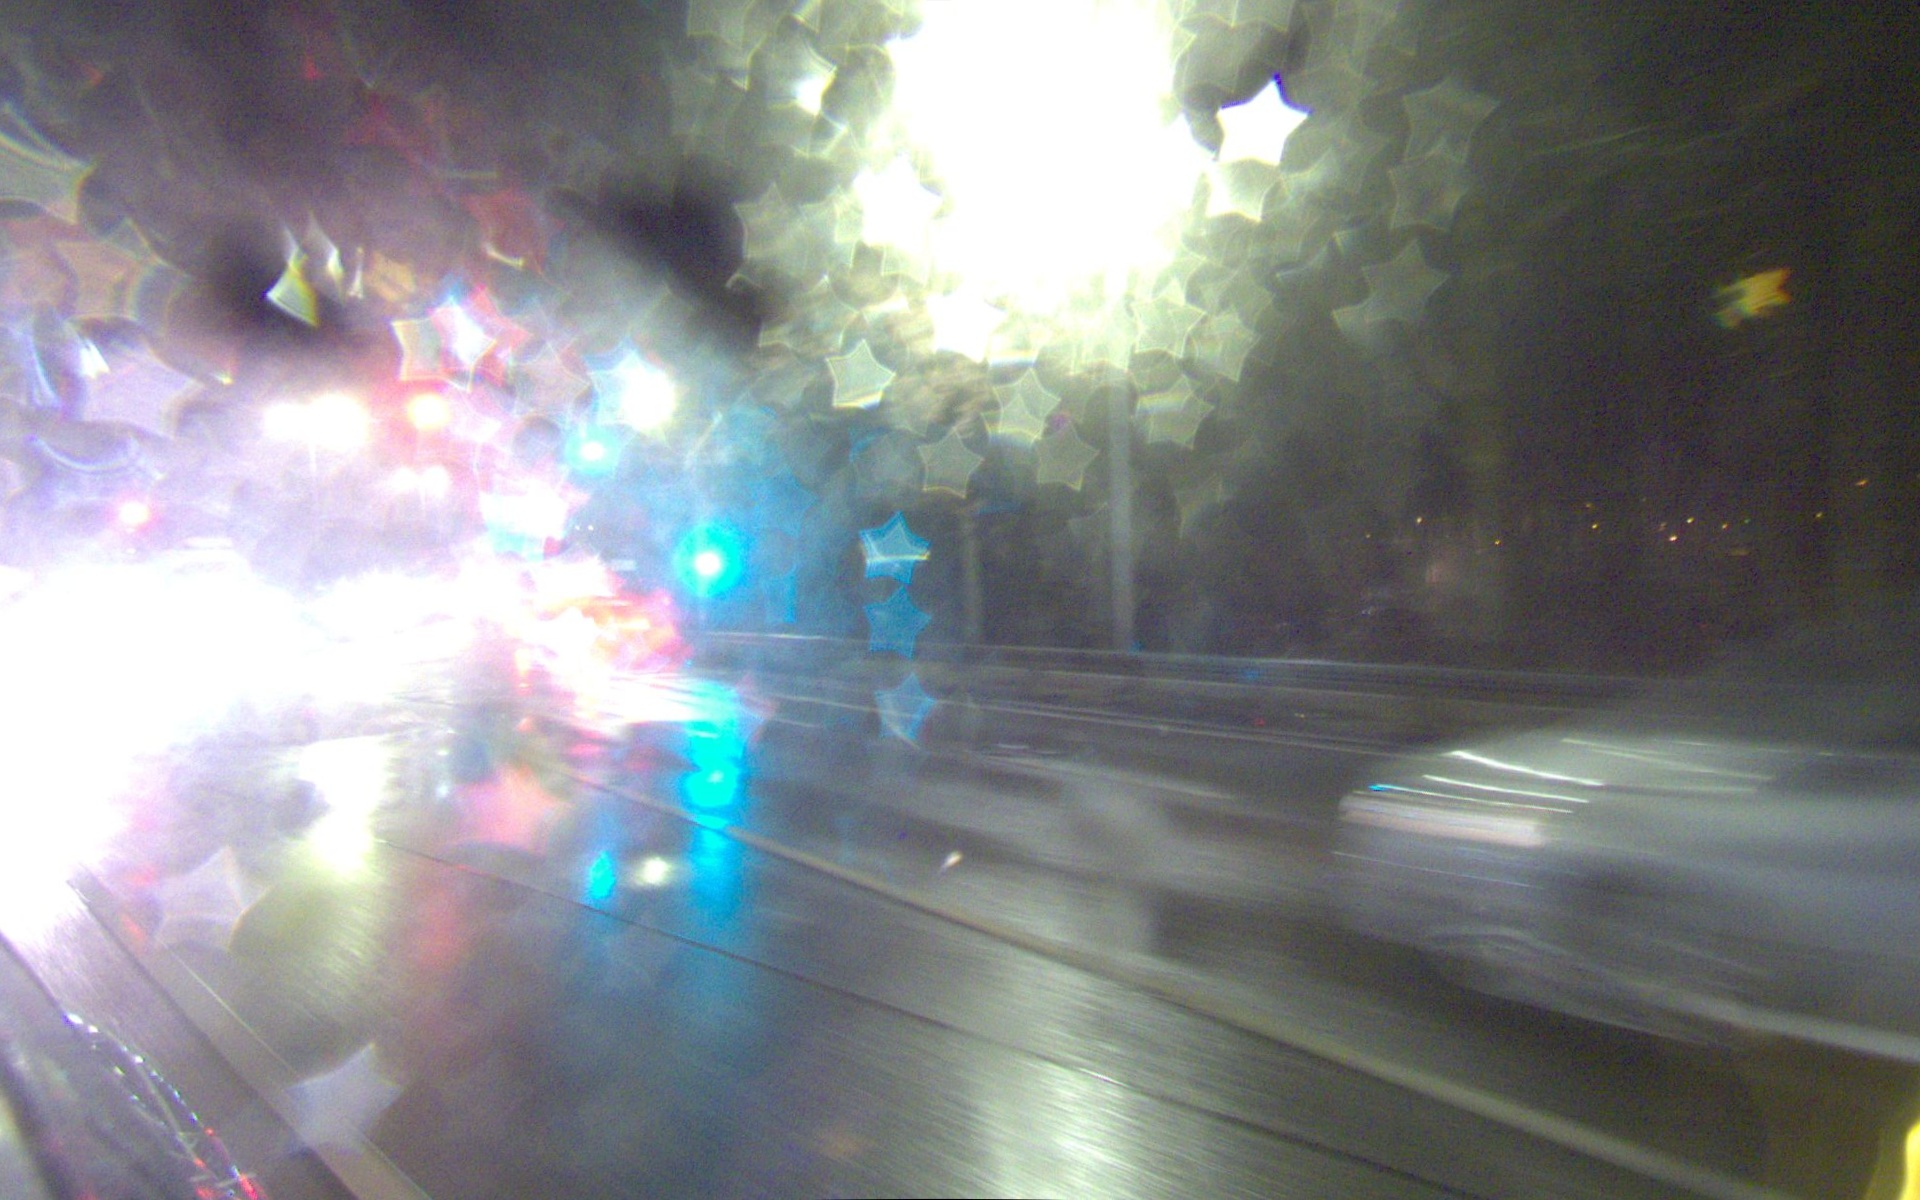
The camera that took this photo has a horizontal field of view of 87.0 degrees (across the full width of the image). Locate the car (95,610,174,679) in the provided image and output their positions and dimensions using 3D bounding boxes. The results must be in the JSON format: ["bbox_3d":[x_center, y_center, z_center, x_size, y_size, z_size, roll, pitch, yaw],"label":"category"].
[{"bbox_3d":[-31.393,1.624,38.601,1.968,2.027,4.010,-7,8,-36],"label":"car"}]

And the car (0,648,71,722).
[{"bbox_3d":[-23.369,2.086,25.323,1.285,1.540,3.053,-7,3,-36],"label":"car"}]

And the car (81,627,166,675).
[{"bbox_3d":[-39.596,2.363,48.004,1.805,2.029,4.013,-2,0,-20],"label":"car"}]

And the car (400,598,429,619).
[{"bbox_3d":[-53.386,0.846,99.142,1.838,2.029,4.012,-2,0,-19],"label":"car"}]

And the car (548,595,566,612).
[{"bbox_3d":[-46.428,0.395,116.732,1.714,1.870,4.013,-2,0,-19],"label":"car"}]

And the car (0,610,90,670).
[{"bbox_3d":[-33.922,1.442,37.191,1.838,2.029,4.013,-2,0,-24],"label":"car"}]

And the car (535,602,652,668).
[{"bbox_3d":[-10.015,0.916,27.397,1.958,1.617,4.846,0,-1,-33],"label":"car"}]

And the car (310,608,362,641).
[{"bbox_3d":[-41.362,1.586,67.185,1.839,2.029,4.011,-2,0,-16],"label":"car"}]

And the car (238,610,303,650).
[{"bbox_3d":[-37.514,1.618,55.162,1.965,2.029,4.013,-2,0,-20],"label":"car"}]

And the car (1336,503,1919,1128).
[{"bbox_3d":[3.760,0.553,2.900,1.975,1.687,4.622,-2,0,-43],"label":"car"}]

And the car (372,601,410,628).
[{"bbox_3d":[-44.596,1.153,79.400,1.838,2.029,4.013,-2,0,-19],"label":"car"}]

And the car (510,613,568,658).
[{"bbox_3d":[-16.421,1.338,39.357,1.957,1.617,4.849,0,-1,-24],"label":"car"}]

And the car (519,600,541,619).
[{"bbox_3d":[-42.575,0.953,100.275,1.714,1.870,4.013,-2,0,-19],"label":"car"}]

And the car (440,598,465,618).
[{"bbox_3d":[-55.585,0.906,110.961,1.838,2.029,4.012,-2,0,-19],"label":"car"}]

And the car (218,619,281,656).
[{"bbox_3d":[-43.168,2.247,61.564,1.966,2.029,4.012,-2,0,-17],"label":"car"}]
